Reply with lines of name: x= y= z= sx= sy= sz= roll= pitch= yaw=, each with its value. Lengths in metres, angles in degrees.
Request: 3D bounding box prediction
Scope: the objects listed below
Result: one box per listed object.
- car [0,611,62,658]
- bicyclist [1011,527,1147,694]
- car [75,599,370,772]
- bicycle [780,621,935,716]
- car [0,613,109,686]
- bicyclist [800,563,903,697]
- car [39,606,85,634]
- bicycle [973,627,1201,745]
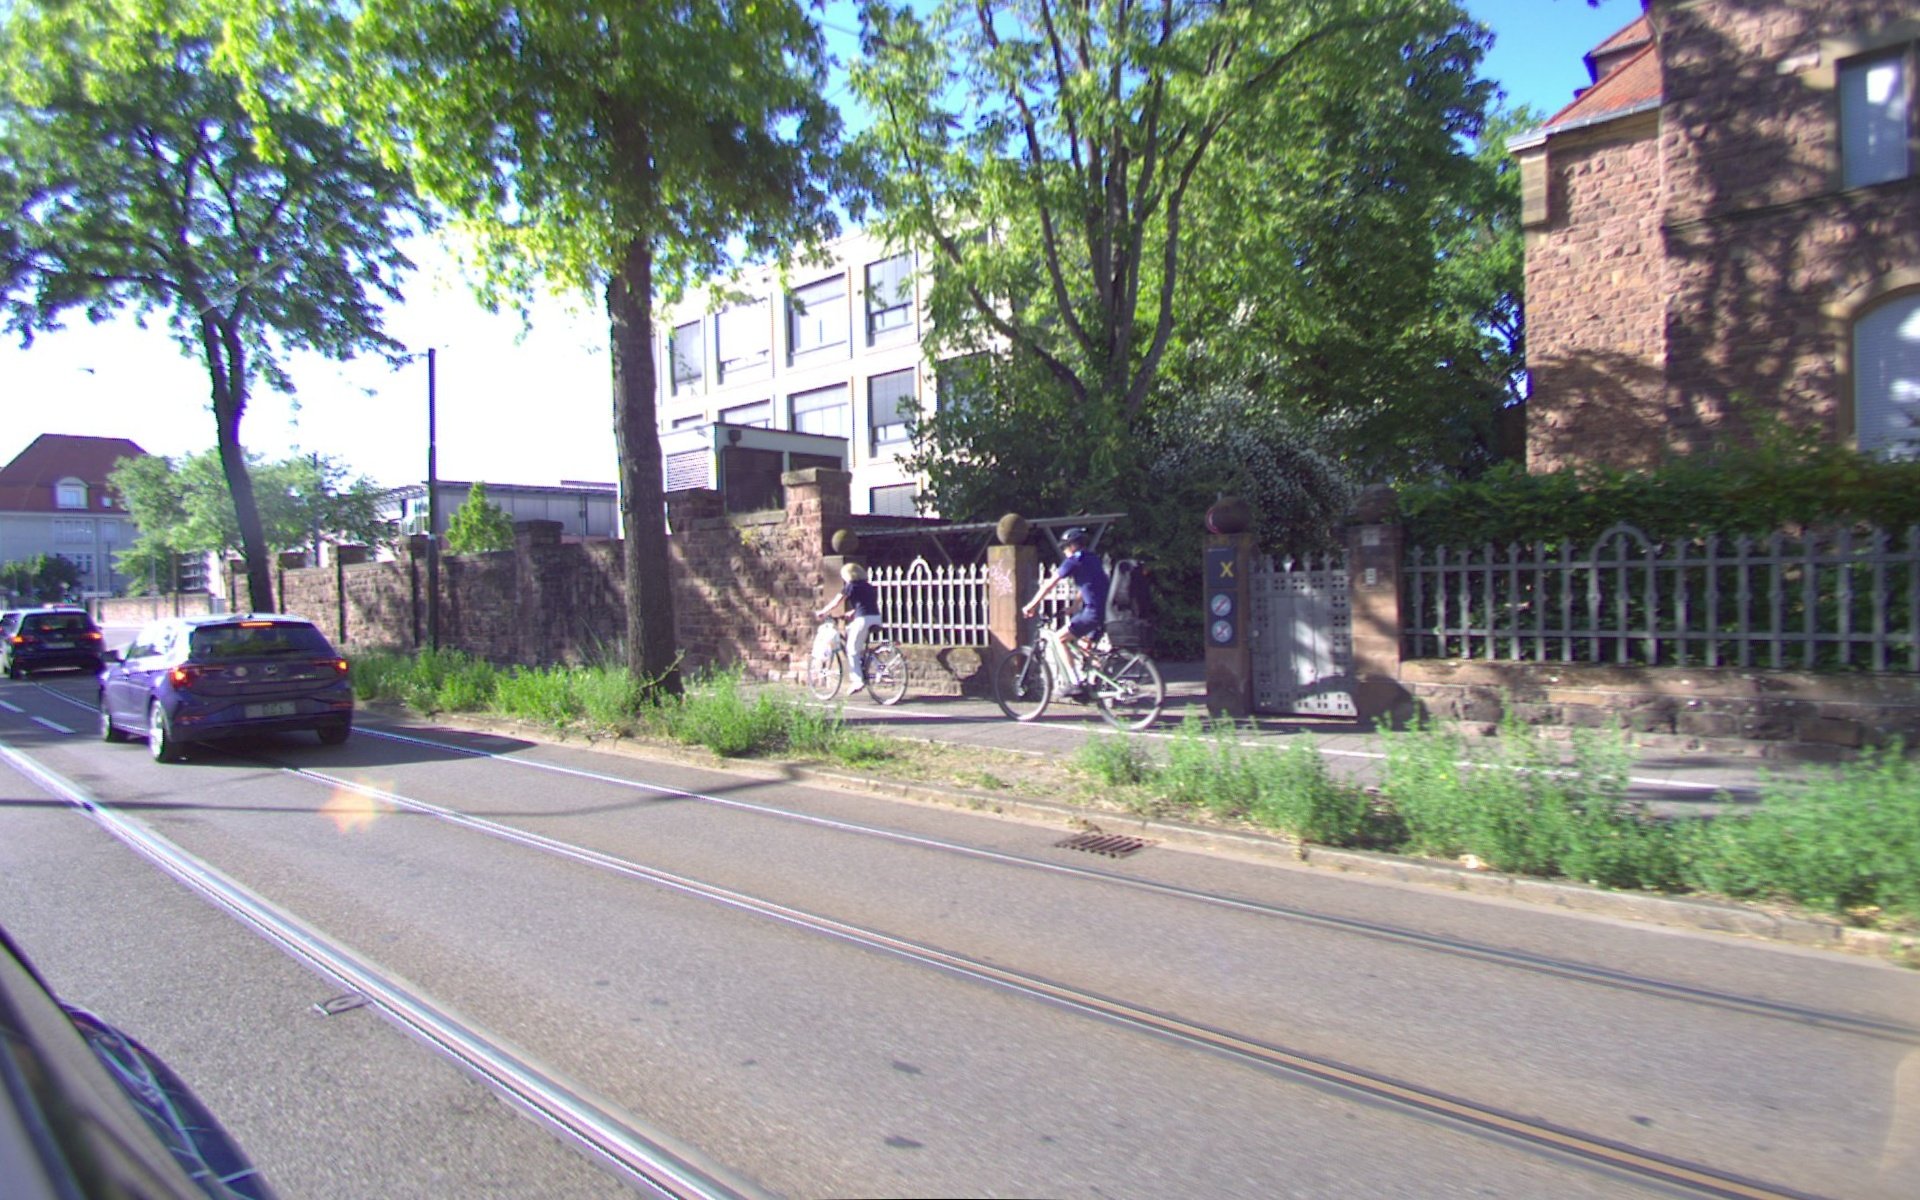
car: x=-34.028 y=1.213 z=36.282 sx=4.574 sy=1.535 sz=1.975 roll=-1 pitch=1 yaw=38
bicyclist: x=1.122 y=0.094 z=9.576 sx=1.041 sy=1.481 sz=0.701 roll=-1 pitch=0 yaw=42
car: x=-8.273 y=0.806 z=11.216 sx=4.067 sy=1.535 sz=1.731 roll=-1 pitch=1 yaw=41
bicycle: x=-1.253 y=0.778 z=12.108 sx=1.887 sy=0.981 sz=0.711 roll=0 pitch=3 yaw=41
car: x=-21.809 y=1.117 z=24.071 sx=4.033 sy=1.535 sz=1.731 roll=-1 pitch=1 yaw=41
bicyclist: x=-1.300 y=0.340 z=12.117 sx=0.956 sy=1.510 sz=0.702 roll=0 pitch=3 yaw=41
car: x=-67.053 y=1.492 z=75.568 sx=4.932 sy=1.980 sz=1.973 roll=-1 pitch=1 yaw=42
bicycle: x=1.153 y=0.756 z=9.567 sx=2.094 sy=0.967 sz=0.704 roll=-1 pitch=0 yaw=42
